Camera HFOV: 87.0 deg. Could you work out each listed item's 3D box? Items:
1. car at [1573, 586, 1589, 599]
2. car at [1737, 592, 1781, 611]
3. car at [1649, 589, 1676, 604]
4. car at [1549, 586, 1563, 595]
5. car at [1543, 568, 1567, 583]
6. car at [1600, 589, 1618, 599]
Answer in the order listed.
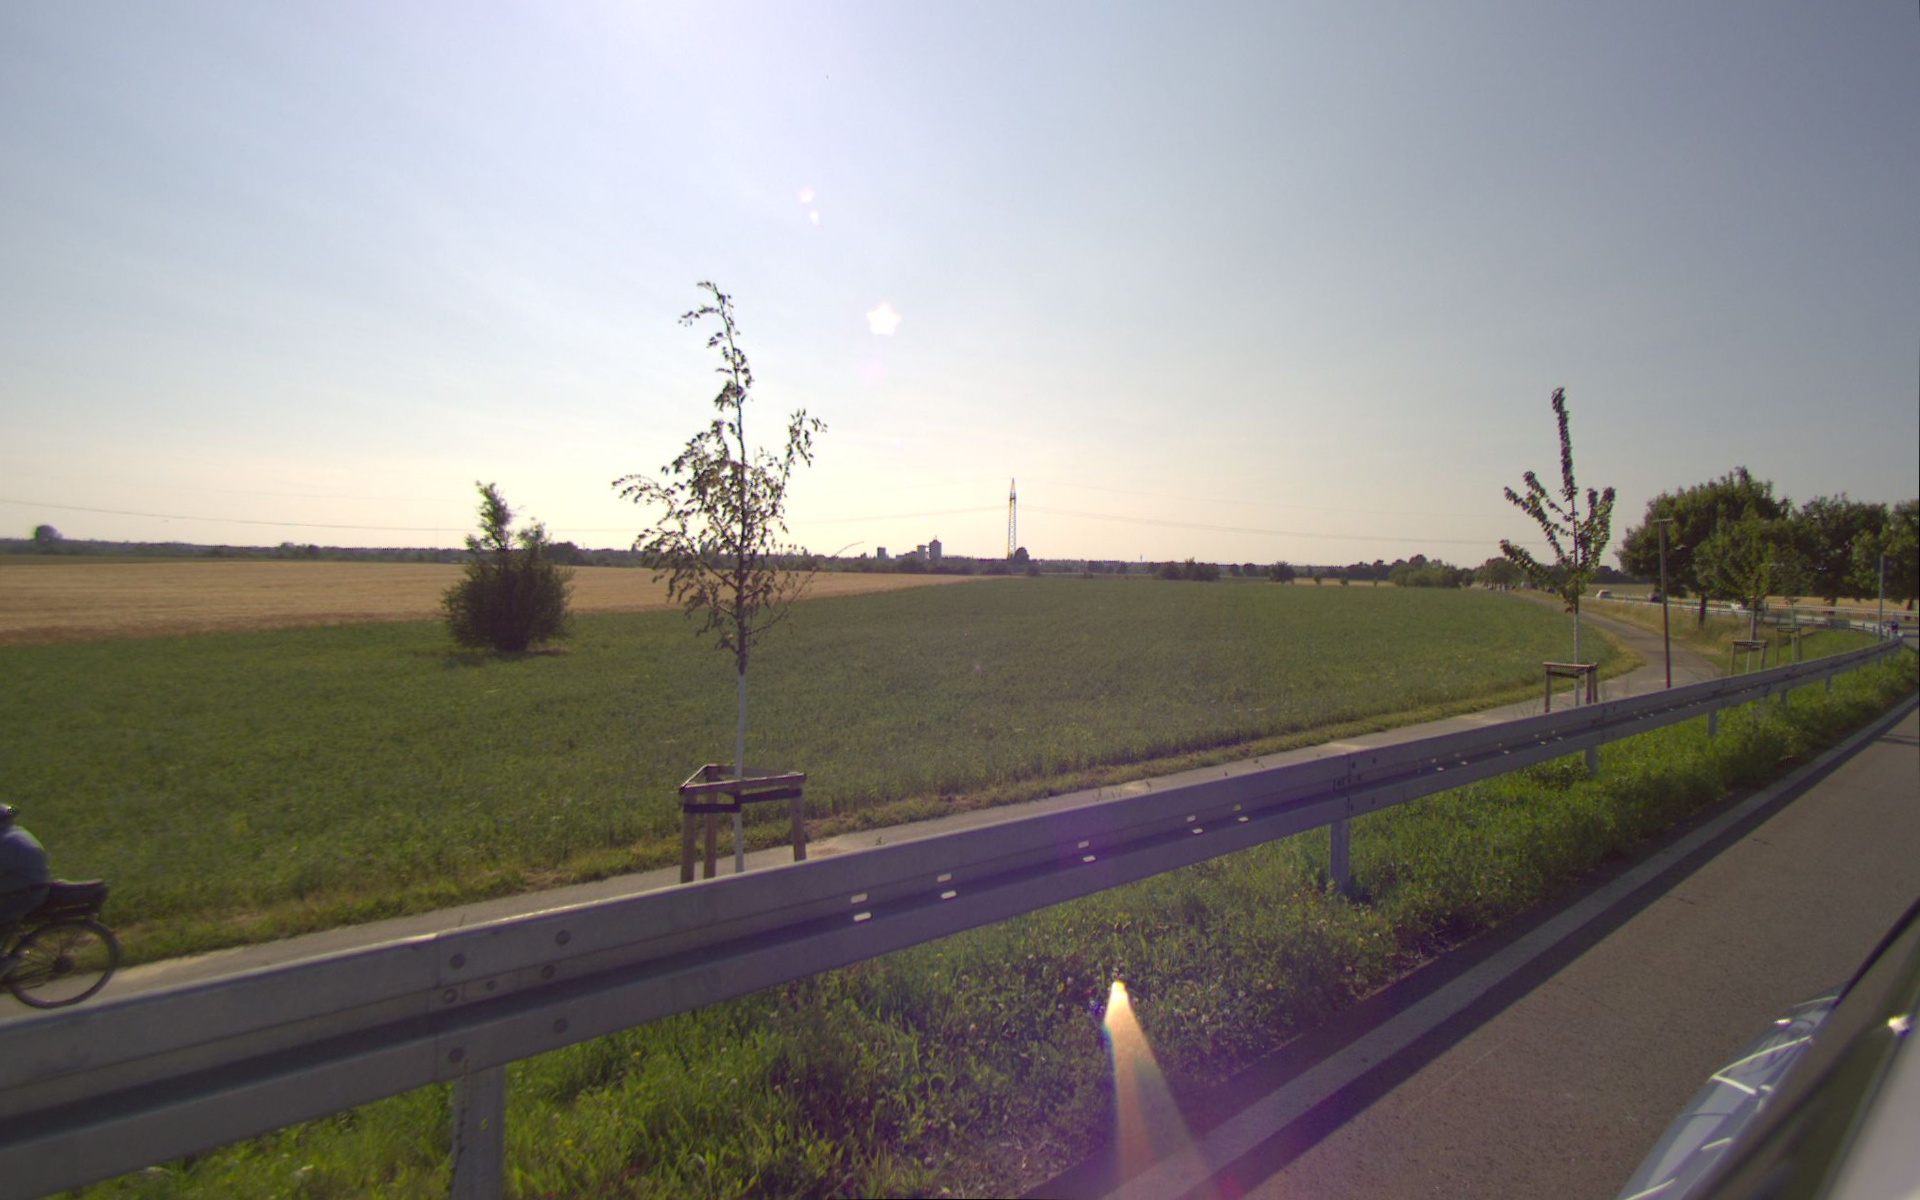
[{"bbox_3d":[110.000,-1.376,179.211,1.898,2.038,4.743,0,2,25],"label":"car"},{"bbox_3d":[67.258,0.132,85.245,1.838,1.467,4.121,-1,1,24],"label":"car"},{"bbox_3d":[80.650,-0.431,116.218,1.824,1.563,4.209,-1,2,25],"label":"car"},{"bbox_3d":[124.631,-2.051,211.761,1.994,1.604,4.789,1,3,24],"label":"car"},{"bbox_3d":[85.209,-3.498,144.904,2.793,2.039,6.040,-1,1,29],"label":"car"},{"bbox_3d":[97.310,-0.855,151.797,1.738,1.447,3.814,-1,1,24],"label":"car"}]
